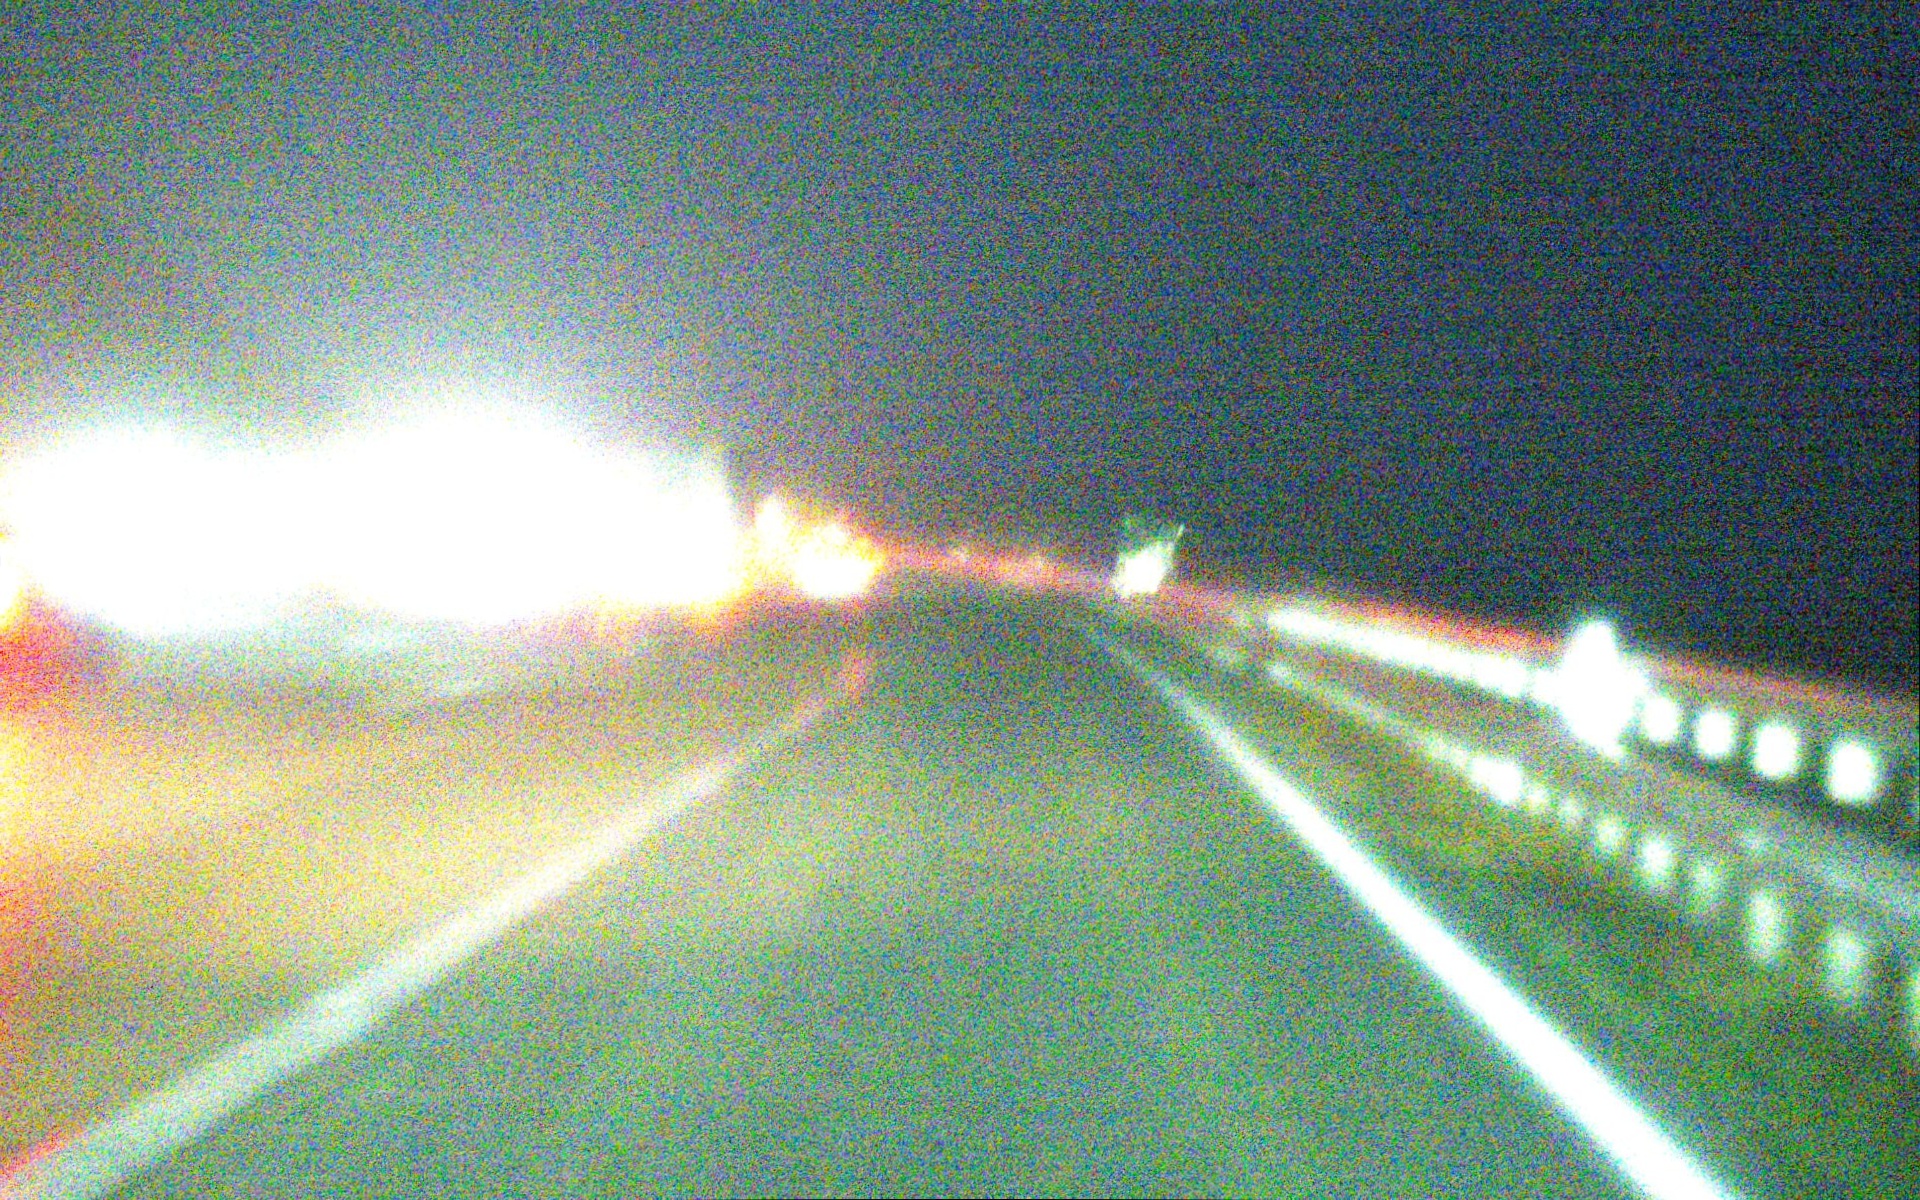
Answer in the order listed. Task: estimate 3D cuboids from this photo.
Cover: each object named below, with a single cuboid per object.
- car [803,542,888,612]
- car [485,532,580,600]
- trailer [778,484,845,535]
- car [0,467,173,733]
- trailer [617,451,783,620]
[{"bbox_3d":[-3.257,-0.656,98.563,1.994,1.812,4.000,5,1,2],"label":"car"},{"bbox_3d":[-11.279,-0.911,90.866,1.993,1.612,4.000,5,1,-1],"label":"car"},{"bbox_3d":[-8.955,-5.453,208.558,2.687,2.690,12.856,5,1,3],"label":"trailer"},{"bbox_3d":[-8.093,-0.093,28.042,1.994,2.007,4.567,5,1,2],"label":"car"},{"bbox_3d":[-6.387,-1.544,86.613,2.592,3.712,13.652,5,1,1],"label":"trailer"}]
